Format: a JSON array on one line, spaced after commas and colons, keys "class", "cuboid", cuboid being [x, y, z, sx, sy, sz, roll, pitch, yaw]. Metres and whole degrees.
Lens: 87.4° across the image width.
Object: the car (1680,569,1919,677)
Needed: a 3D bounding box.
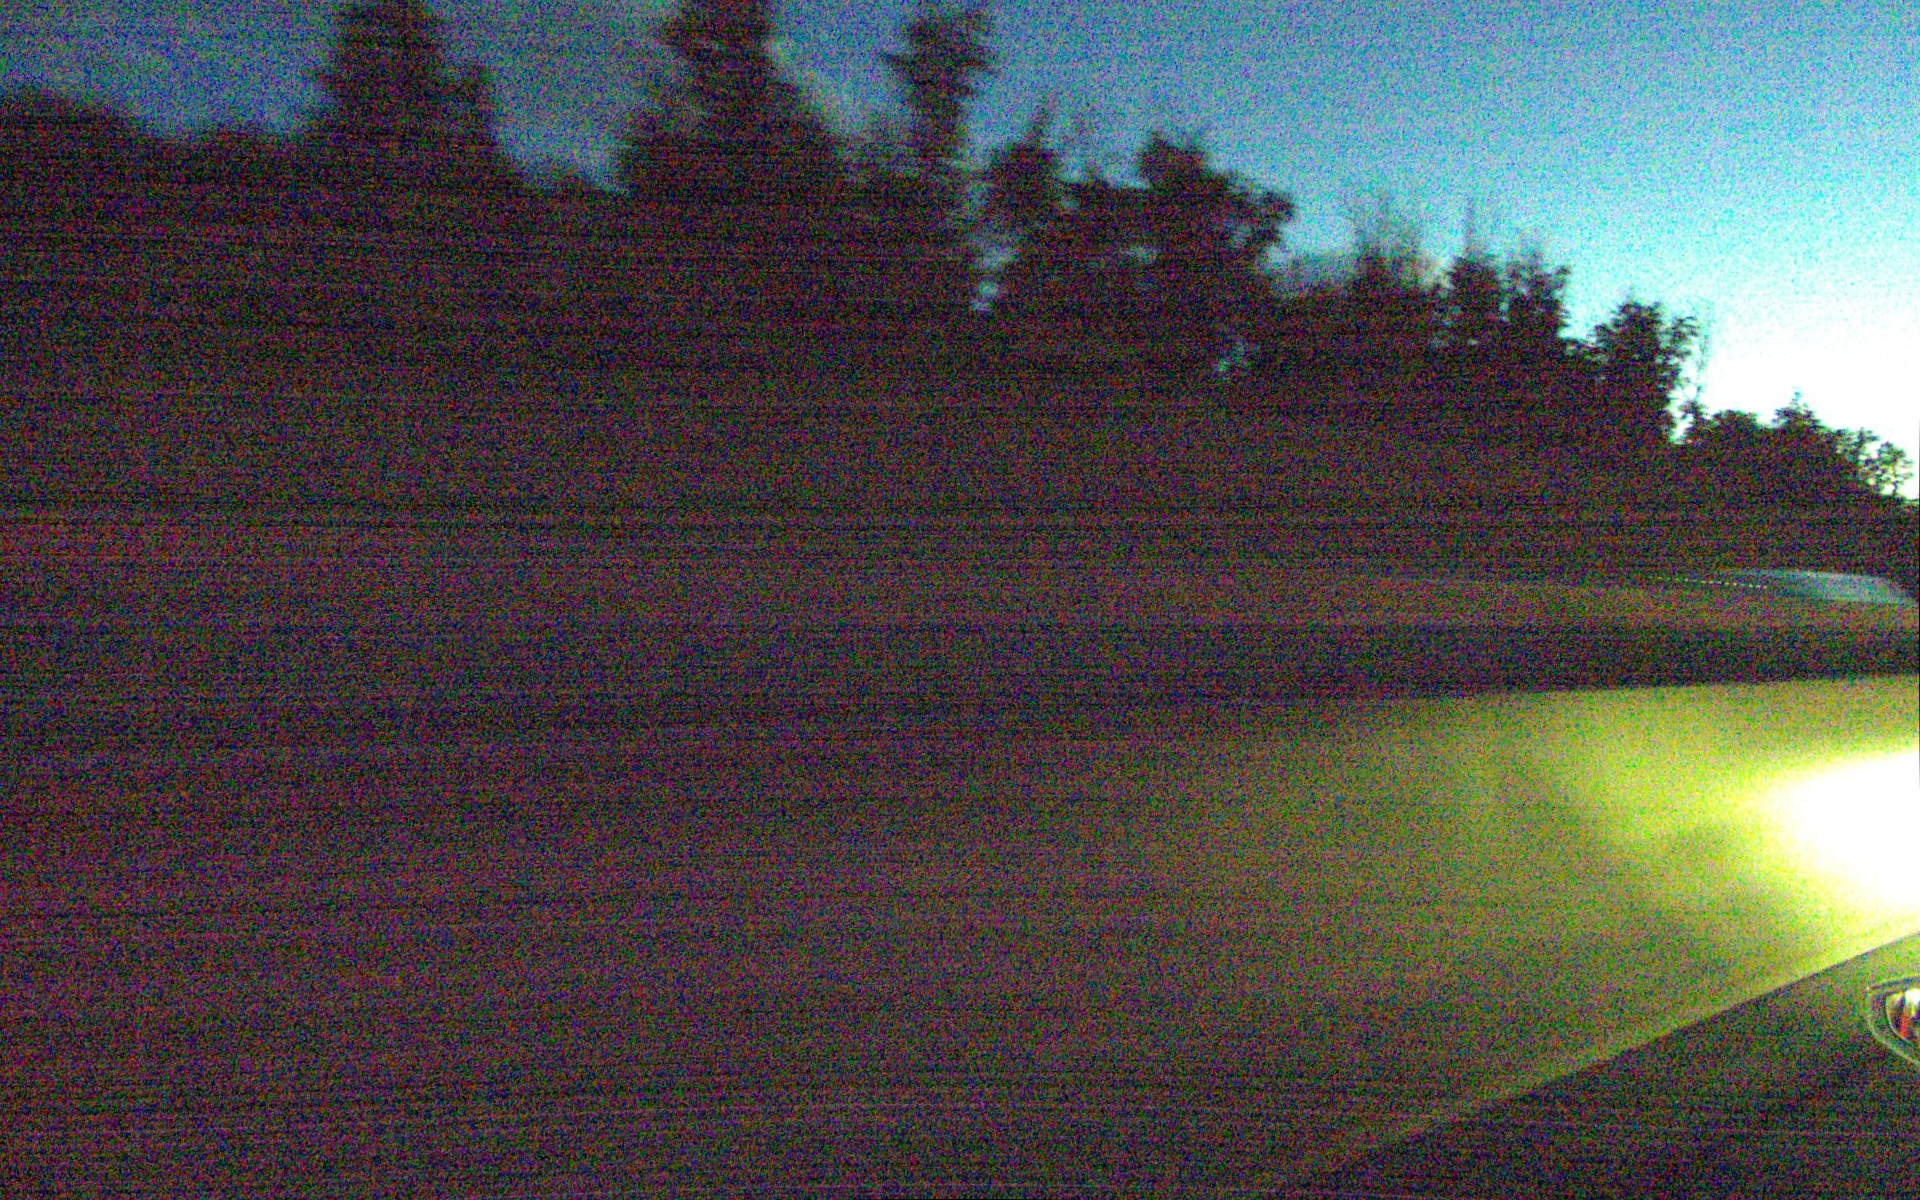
[{"class": "car", "cuboid": [15.226, 0.344, 18.075, 4.695, 1.658, 1.981, 0, 4, -32]}]
